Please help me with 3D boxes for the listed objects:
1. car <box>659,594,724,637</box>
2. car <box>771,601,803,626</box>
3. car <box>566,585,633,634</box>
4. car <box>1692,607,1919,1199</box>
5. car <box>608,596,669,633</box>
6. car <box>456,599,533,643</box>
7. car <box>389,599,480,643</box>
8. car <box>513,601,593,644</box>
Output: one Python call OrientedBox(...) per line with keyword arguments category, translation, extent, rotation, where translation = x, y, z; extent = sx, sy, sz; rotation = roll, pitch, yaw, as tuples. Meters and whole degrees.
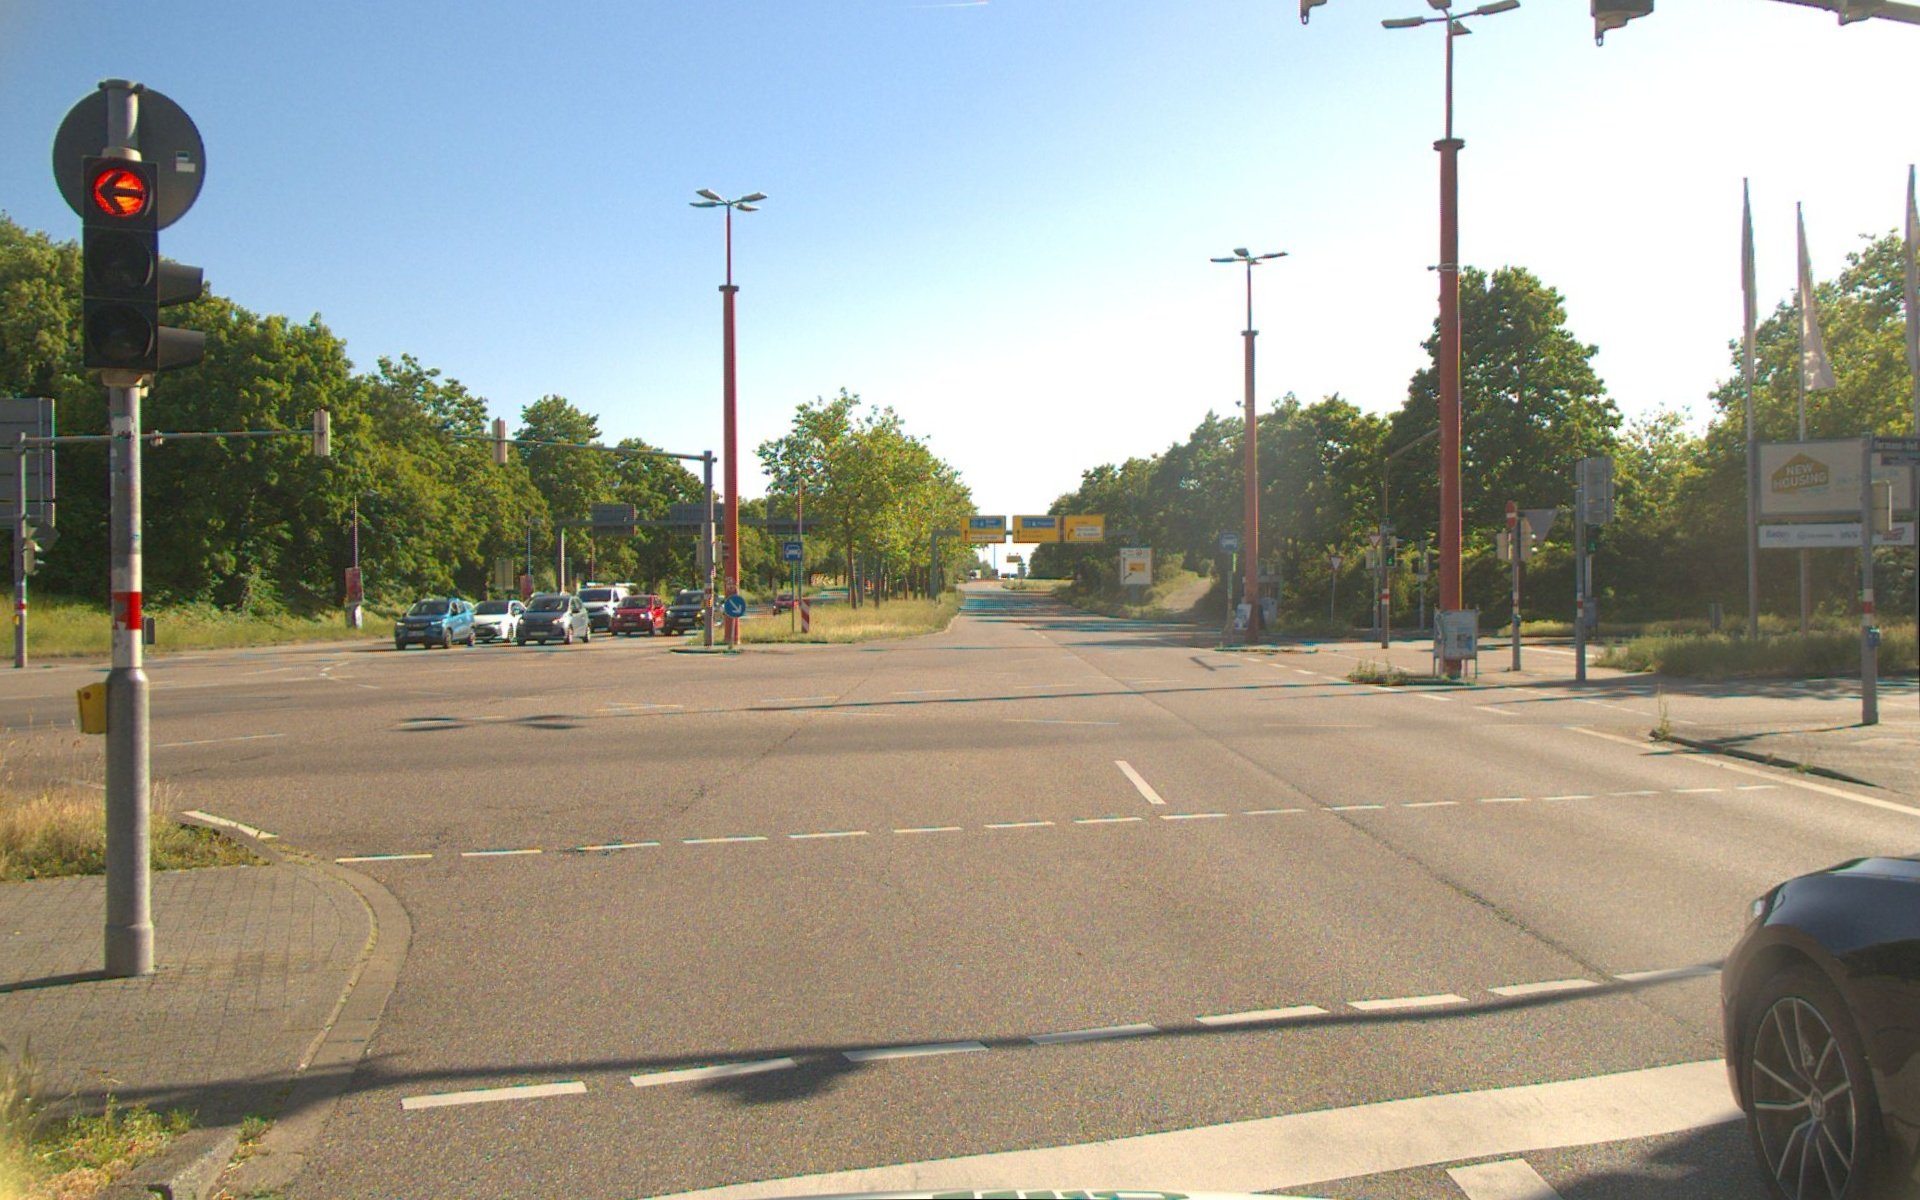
OrientedBox(category="car", translation=(-9.844, 0.557, 60.969), extent=(1.782, 1.534, 3.999), rotation=(0, 0, -1))
OrientedBox(category="car", translation=(-11.832, 0.934, 113.148), extent=(1.782, 1.657, 3.999), rotation=(0, 0, -1))
OrientedBox(category="car", translation=(-15.464, 0.389, 71.163), extent=(1.855, 2.061, 5.221), rotation=(0, 0, -2))
OrientedBox(category="car", translation=(2.906, 0.736, 2.293), extent=(1.831, 1.422, 4.443), rotation=(0, 0, 0))
OrientedBox(category="car", translation=(-12.266, 0.538, 63.311), extent=(1.704, 1.386, 3.611), rotation=(0, 0, -2))
OrientedBox(category="car", translation=(-15.930, 0.703, 56.790), extent=(1.704, 1.436, 3.611), rotation=(0, 0, -2))
OrientedBox(category="car", translation=(-16.054, 0.614, 50.673), extent=(1.704, 1.265, 3.611), rotation=(0, 0, -2))
OrientedBox(category="car", translation=(-12.673, 0.672, 51.695), extent=(1.704, 1.265, 3.611), rotation=(0, 0, -2))
